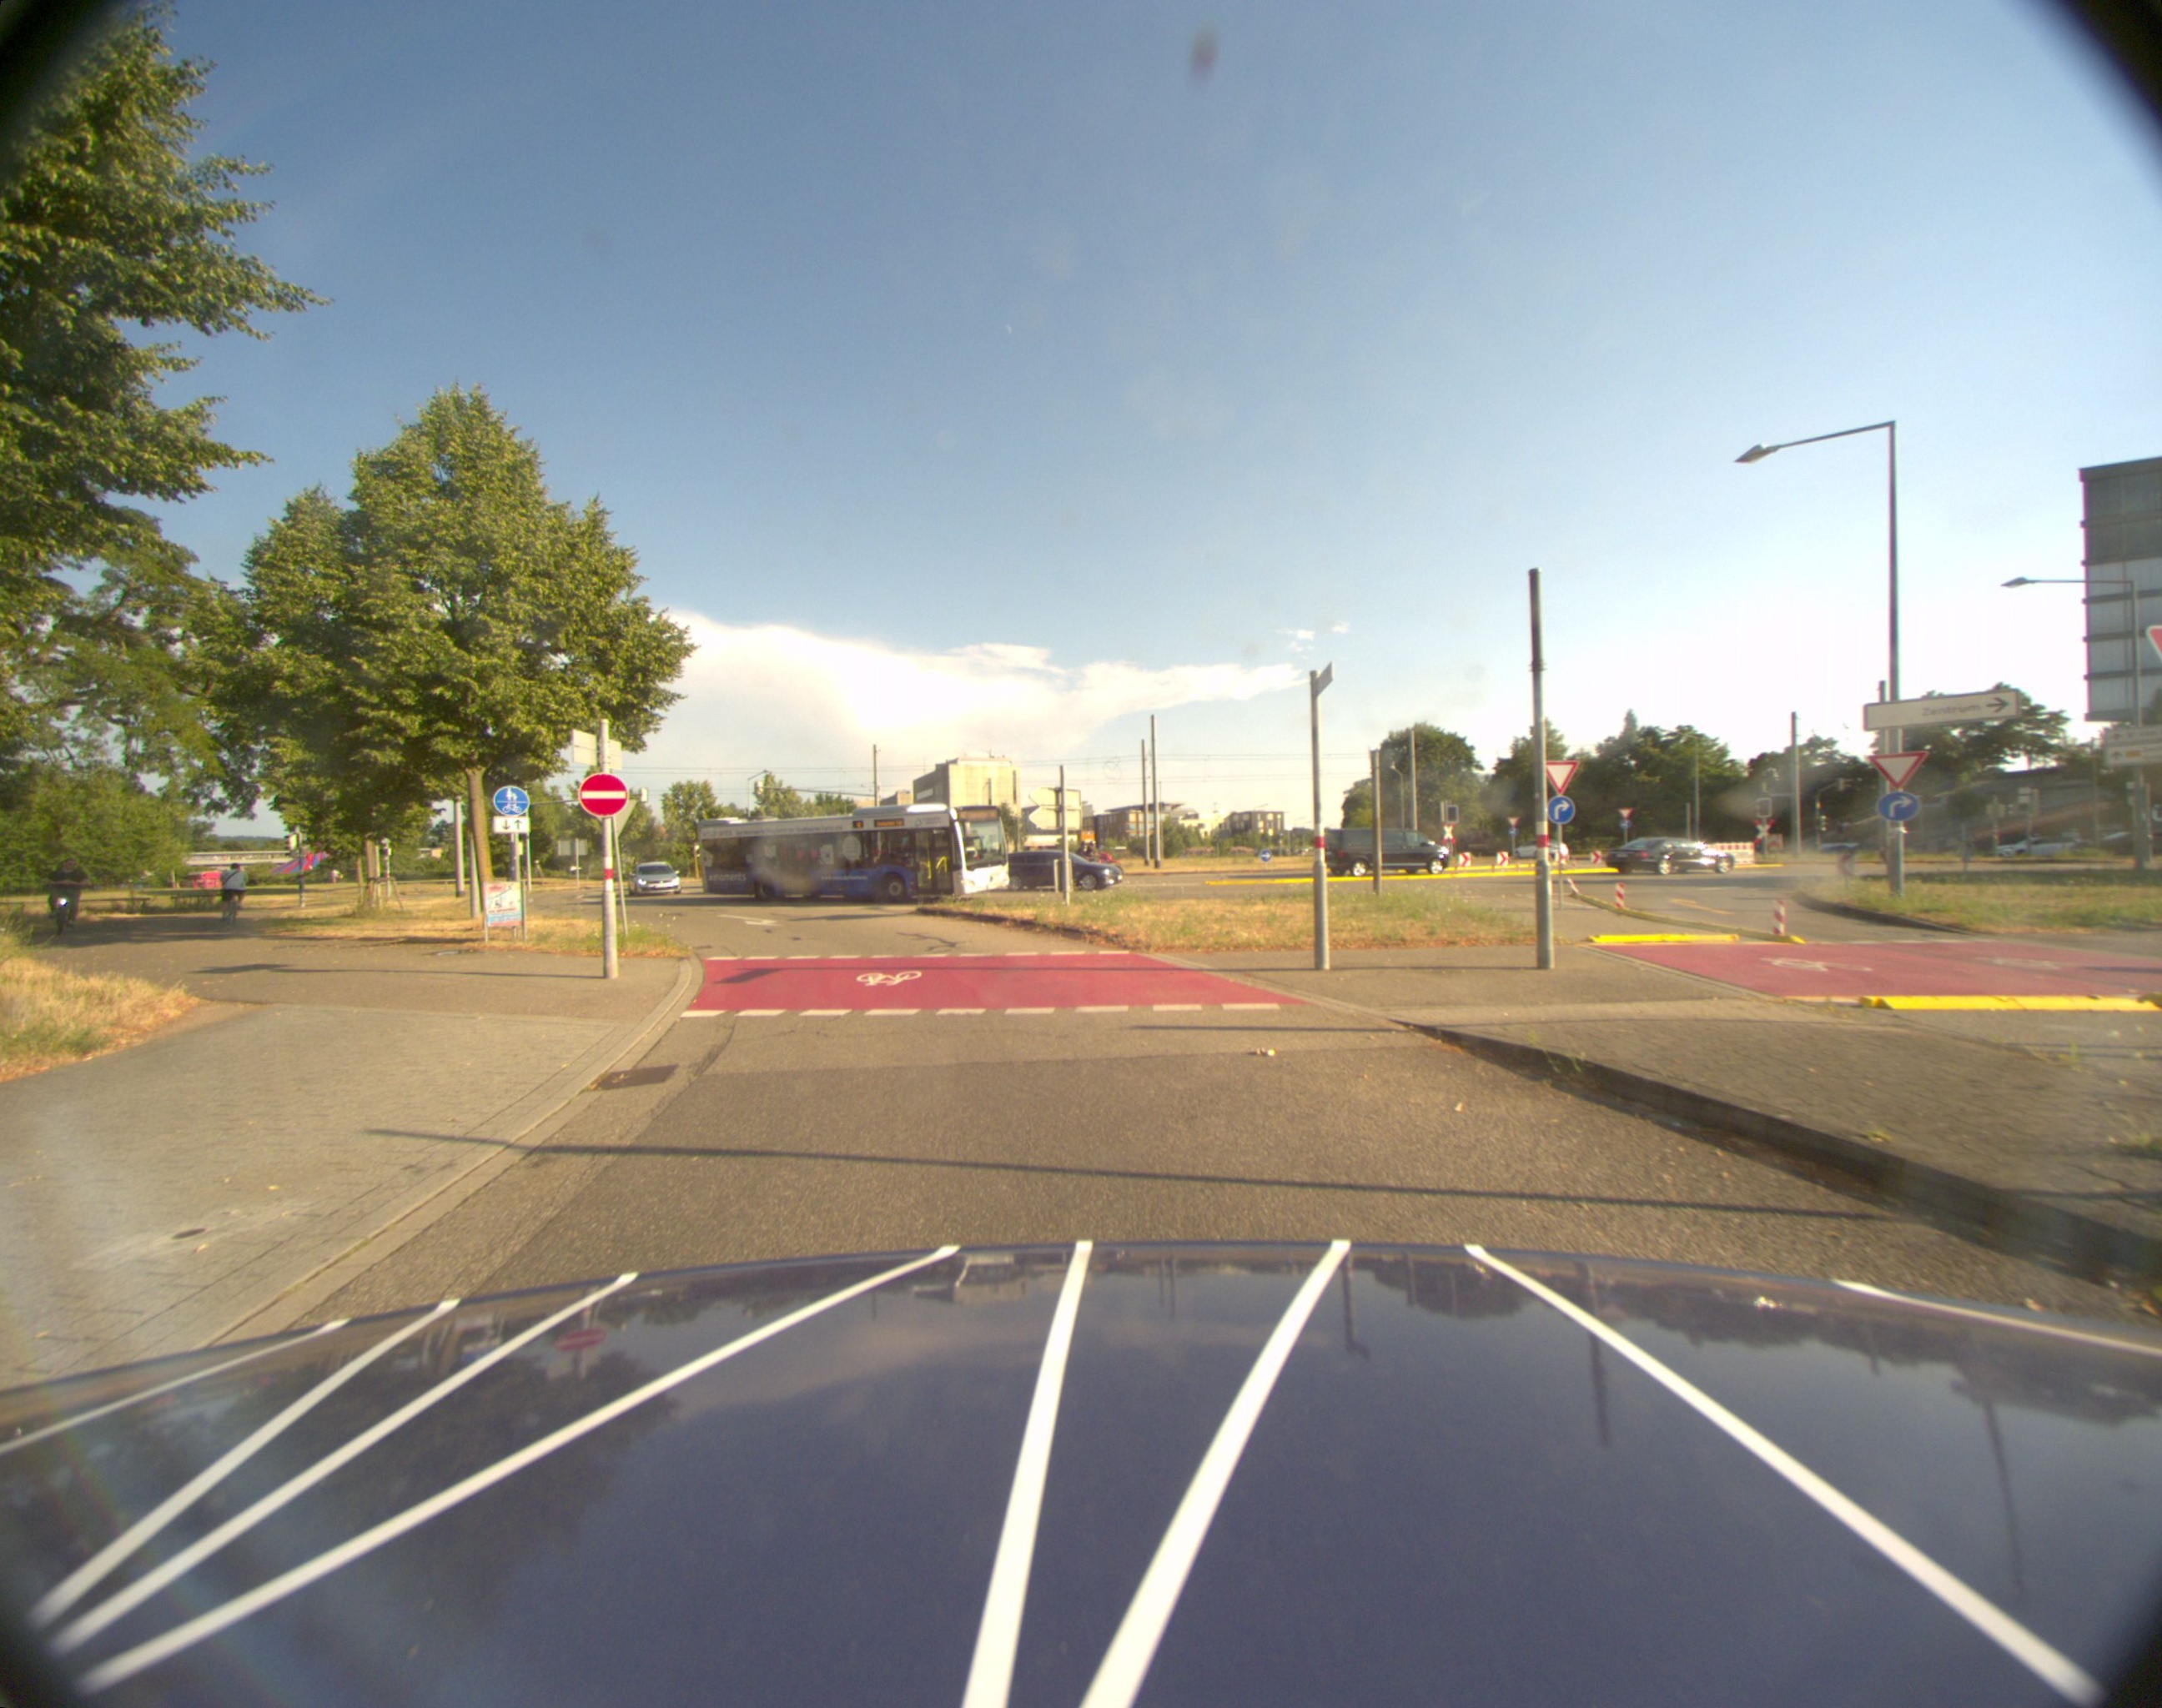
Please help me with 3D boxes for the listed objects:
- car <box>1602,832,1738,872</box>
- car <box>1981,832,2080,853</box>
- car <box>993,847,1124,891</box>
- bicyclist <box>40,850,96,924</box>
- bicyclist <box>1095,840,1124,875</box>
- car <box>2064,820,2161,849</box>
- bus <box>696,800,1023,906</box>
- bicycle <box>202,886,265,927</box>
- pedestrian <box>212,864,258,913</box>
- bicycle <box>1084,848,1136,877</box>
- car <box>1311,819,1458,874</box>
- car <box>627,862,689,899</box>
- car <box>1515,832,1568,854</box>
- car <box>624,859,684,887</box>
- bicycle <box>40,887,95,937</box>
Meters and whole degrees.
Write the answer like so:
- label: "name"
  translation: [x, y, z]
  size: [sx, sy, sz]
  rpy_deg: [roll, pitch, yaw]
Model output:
- label: "car"
  translation: [23.172, -0.100, 29.904]
  size: [4.703, 1.398, 1.840]
  rpy_deg: [-2, 1, -16]
- label: "car"
  translation: [59.700, -0.728, 47.850]
  size: [3.494, 1.232, 1.662]
  rpy_deg: [-1, 1, 27]
- label: "car"
  translation: [-0.793, 0.531, 27.581]
  size: [4.379, 1.428, 1.812]
  rpy_deg: [-2, 1, 14]
- label: "bicyclist"
  translation: [-25.342, 0.808, 19.024]
  size: [0.936, 1.790, 0.729]
  rpy_deg: [-1, 2, 40]
- label: "bicyclist"
  translation: [1.204, 0.154, 31.866]
  size: [0.770, 1.377, 0.885]
  rpy_deg: [-1, 4, 35]
- label: "car"
  translation: [59.417, -1.104, 43.610]
  size: [3.329, 1.565, 1.566]
  rpy_deg: [-1, 1, 34]
- label: "bus"
  translation: [-7.900, 0.085, 25.872]
  size: [12.147, 3.044, 2.671]
  rpy_deg: [-1, 1, 28]
- label: "bicycle"
  translation: [-24.497, 1.504, 21.994]
  size: [0.535, 1.049, 1.909]
  rpy_deg: [-2, 1, -27]
- label: "pedestrian"
  translation: [-24.506, 0.991, 22.022]
  size: [0.654, 1.383, 0.765]
  rpy_deg: [-1, 1, -29]
- label: "bicycle"
  translation: [1.210, 0.360, 31.890]
  size: [2.026, 1.177, 0.822]
  rpy_deg: [-1, 1, 34]
- label: "car"
  translation: [12.524, -0.308, 31.510]
  size: [5.243, 2.035, 2.093]
  rpy_deg: [-2, 1, -6]
- label: "car"
  translation: [-19.354, 1.145, 34.928]
  size: [2.002, 1.515, 3.992]
  rpy_deg: [-2, 1, -22]
- label: "car"
  translation: [34.631, -0.818, 57.270]
  size: [1.997, 1.566, 4.002]
  rpy_deg: [-2, 1, 9]
- label: "car"
  translation: [-25.866, 1.113, 46.170]
  size: [1.913, 1.542, 4.044]
  rpy_deg: [-2, 0, -11]
- label: "bicycle"
  translation: [-25.298, 1.424, 18.991]
  size: [2.119, 1.116, 0.642]
  rpy_deg: [-1, 1, 40]
